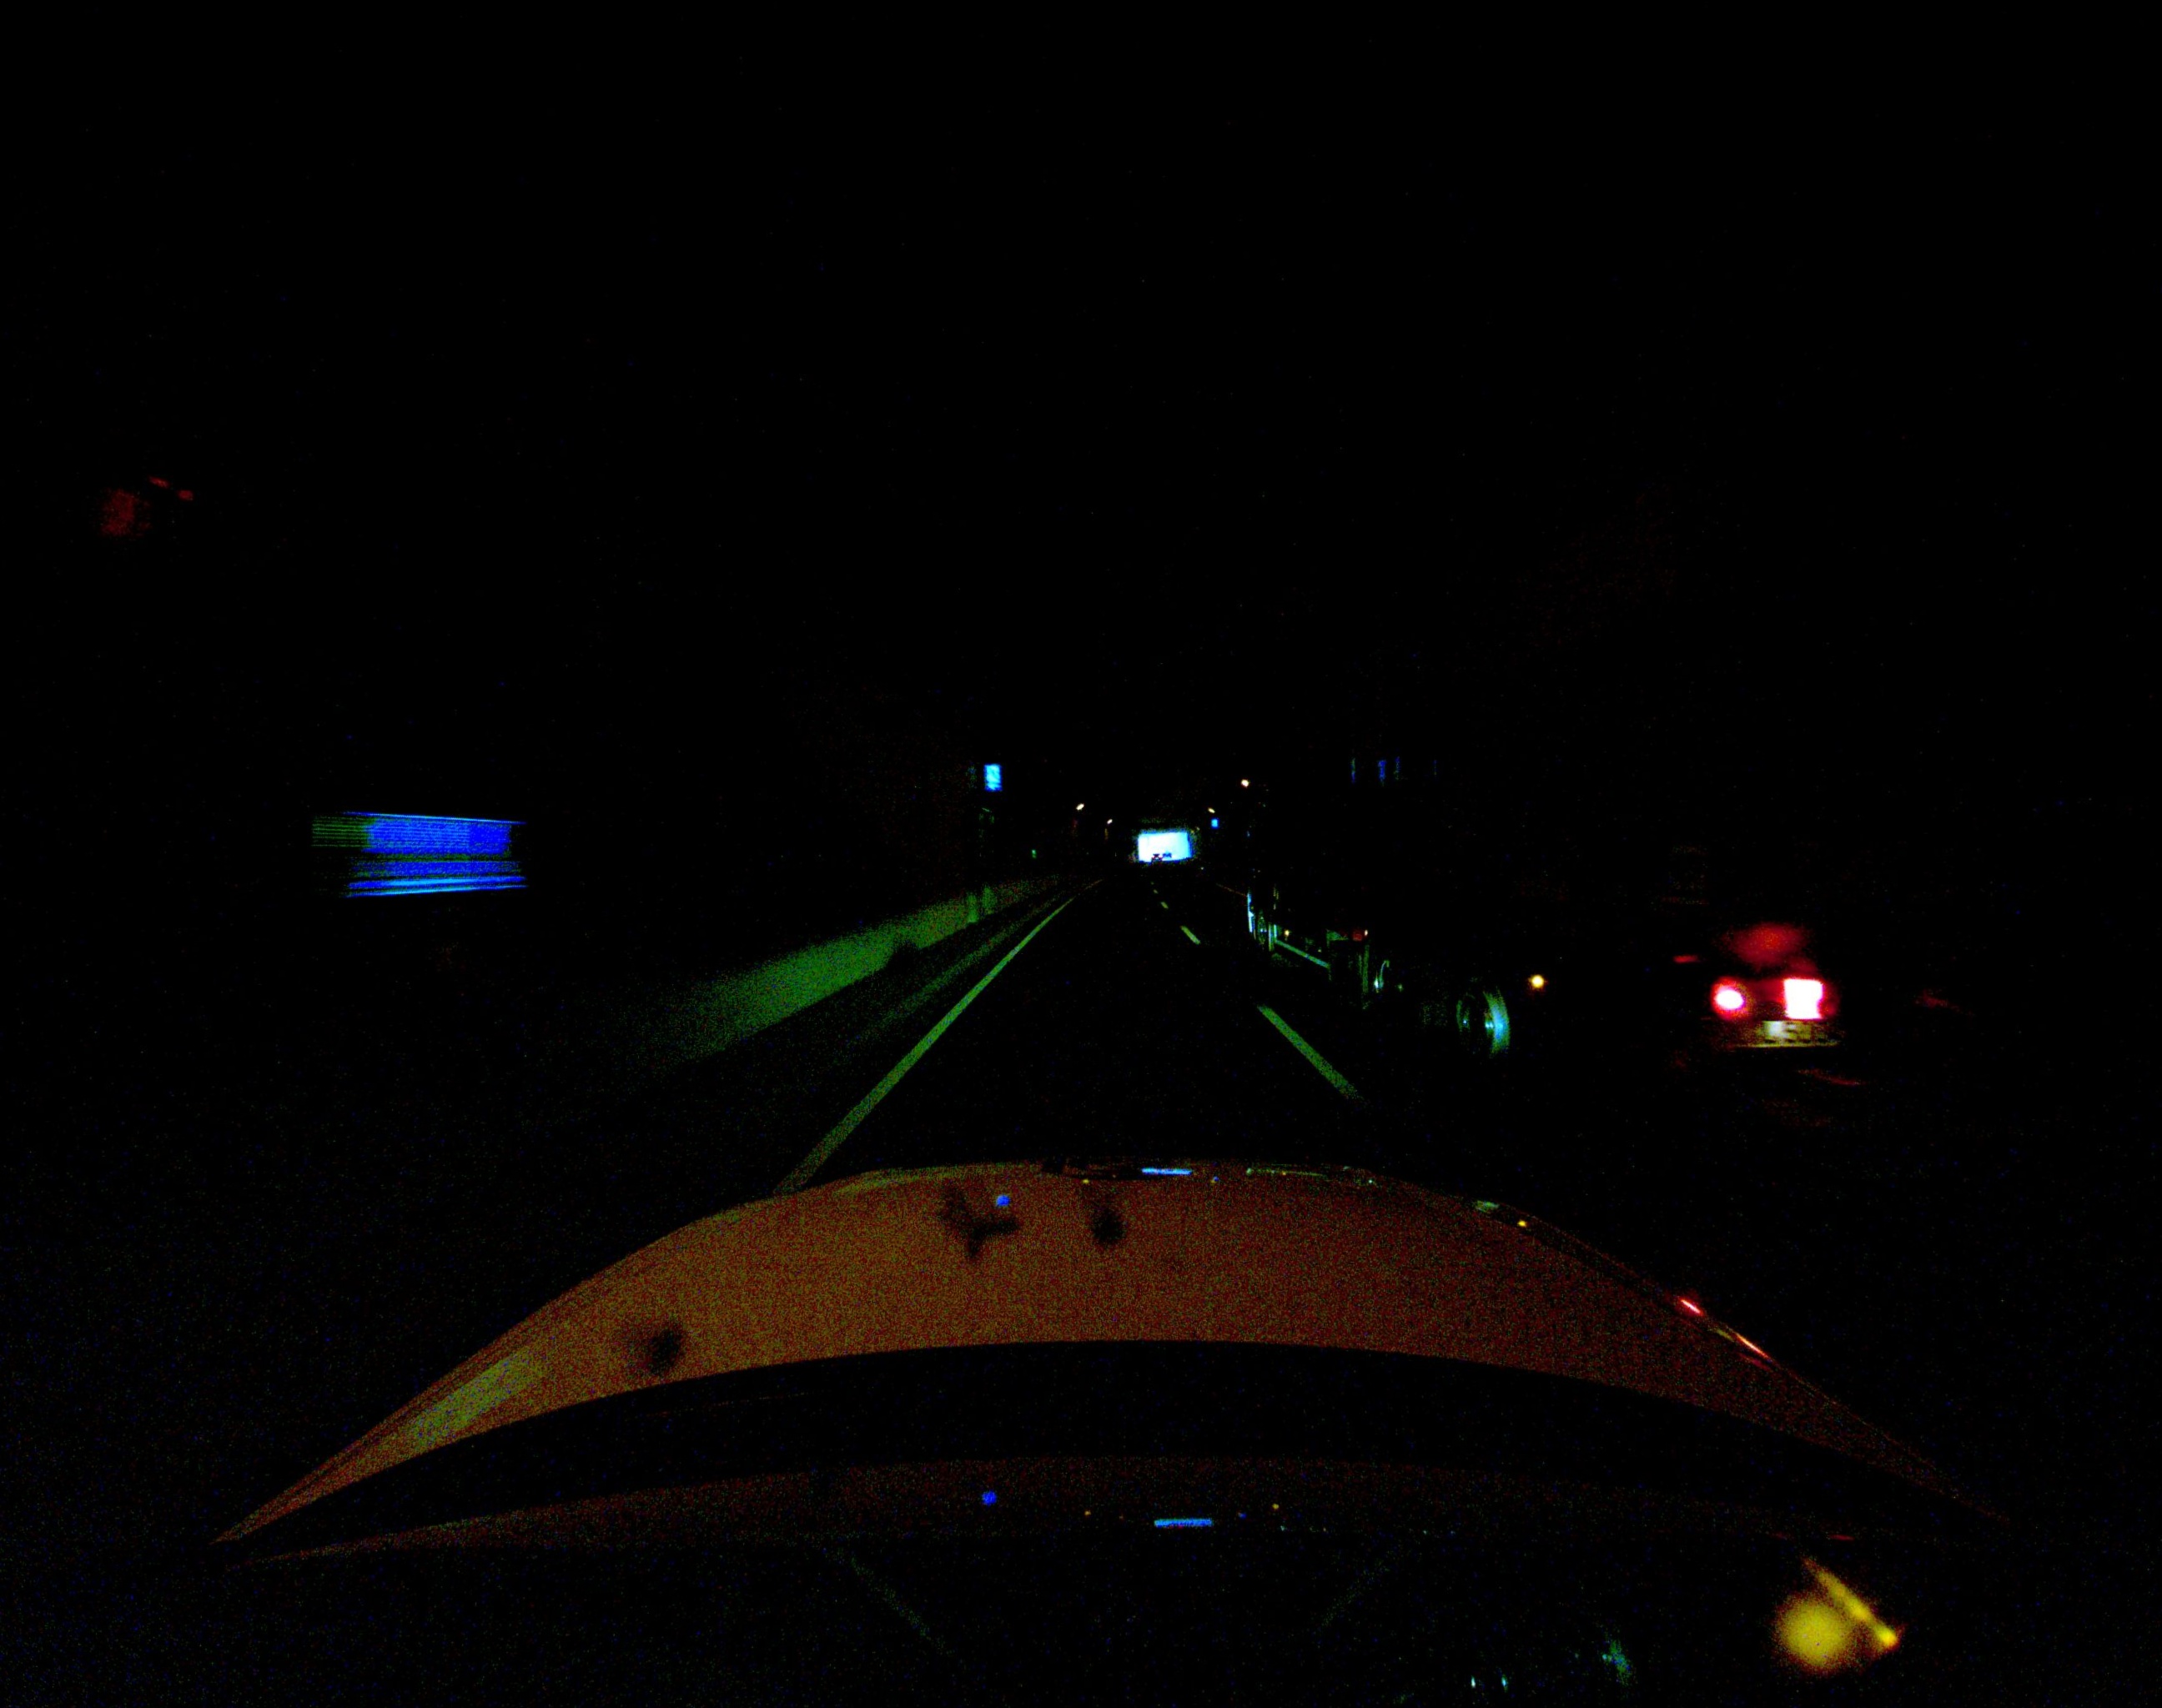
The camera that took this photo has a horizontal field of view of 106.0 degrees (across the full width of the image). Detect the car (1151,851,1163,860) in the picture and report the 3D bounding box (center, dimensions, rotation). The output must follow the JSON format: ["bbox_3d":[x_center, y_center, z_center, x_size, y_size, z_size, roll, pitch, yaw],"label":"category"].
[{"bbox_3d":[12.560,0.330,134.271,1.831,1.388,4.008,-2,-1,7],"label":"car"}]

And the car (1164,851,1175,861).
[{"bbox_3d":[16.513,0.315,152.559,1.861,1.732,4.004,-2,-1,4],"label":"car"}]

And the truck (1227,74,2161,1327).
[{"bbox_3d":[3.603,-0.520,7.524,2.878,3.913,9.913,-2,0,2],"label":"truck"}]
